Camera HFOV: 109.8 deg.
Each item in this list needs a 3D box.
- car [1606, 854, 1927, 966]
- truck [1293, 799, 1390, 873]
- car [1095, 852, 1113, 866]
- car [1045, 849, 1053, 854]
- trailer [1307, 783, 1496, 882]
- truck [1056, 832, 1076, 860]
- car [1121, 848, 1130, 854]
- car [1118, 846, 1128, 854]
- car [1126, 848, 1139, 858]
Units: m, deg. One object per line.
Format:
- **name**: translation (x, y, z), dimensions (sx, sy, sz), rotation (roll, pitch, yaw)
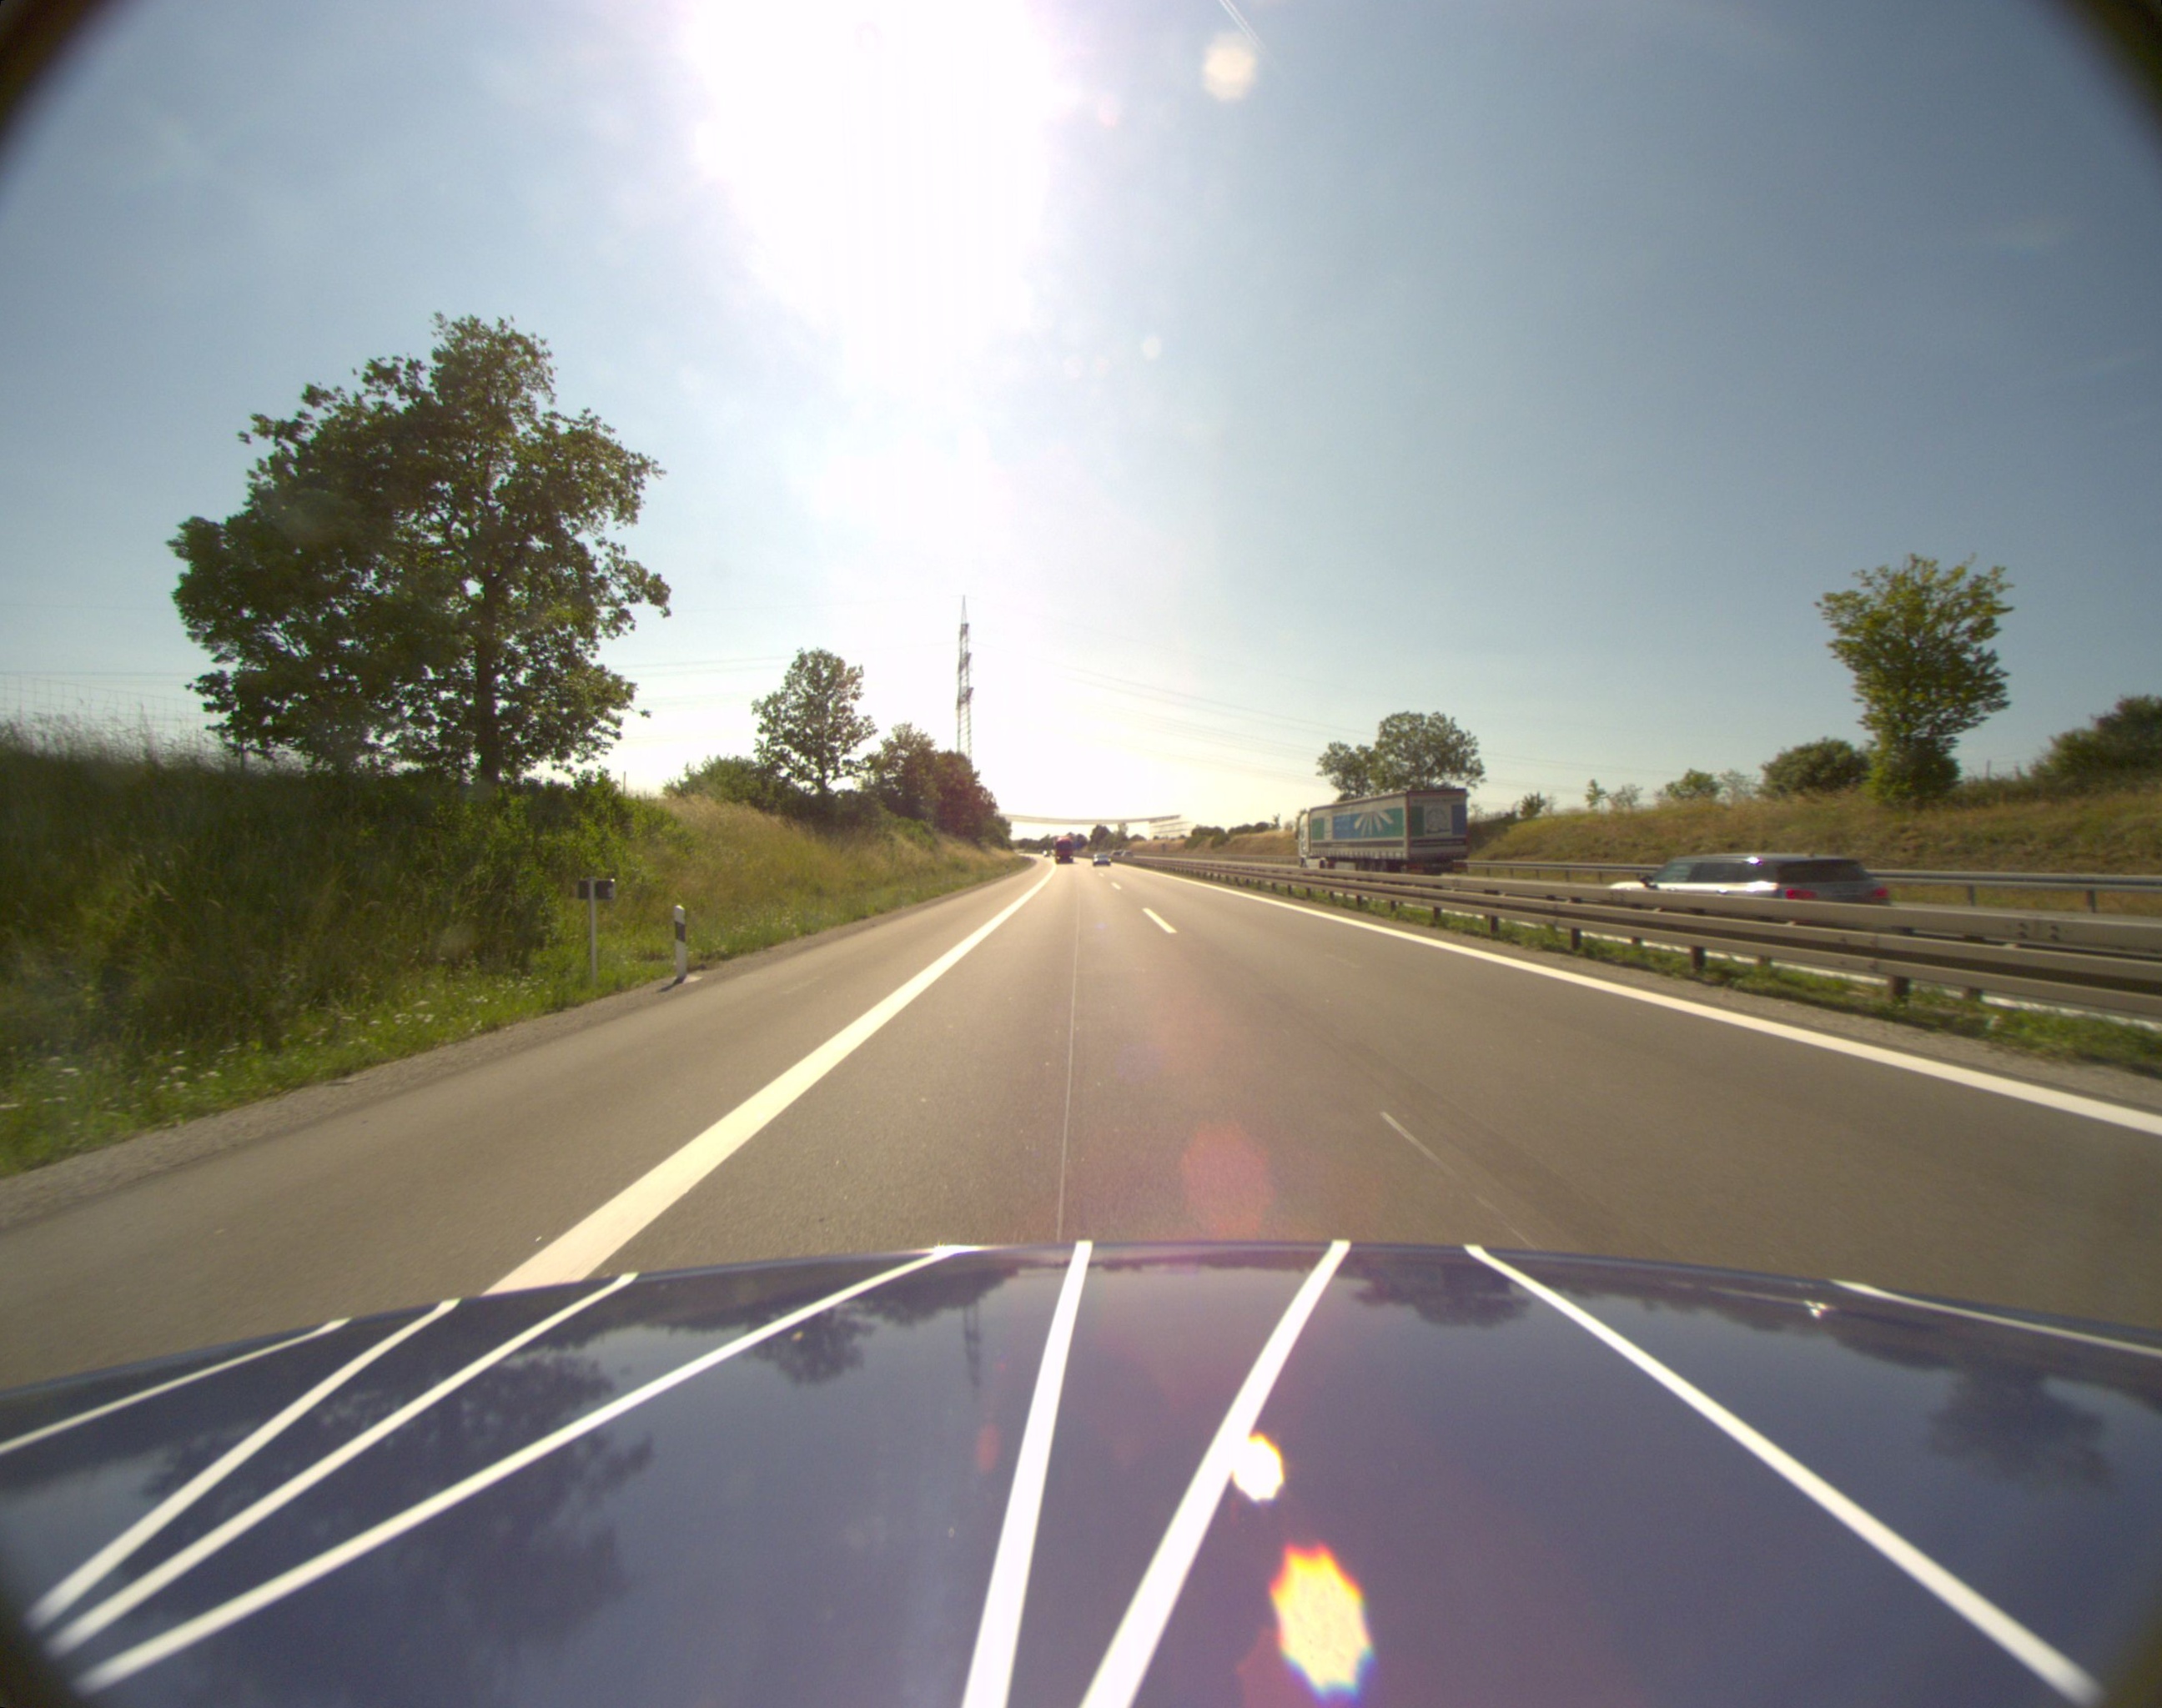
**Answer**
- **car**: translation (10.502, 0.747, 12.104), dimensions (1.589, 1.422, 3.926), rotation (-1, 1, 0)
- **truck**: translation (15.337, -1.026, 45.300), dimensions (3.623, 3.976, 6.123), rotation (-1, 1, 0)
- **car**: translation (2.506, 0.502, 83.292), dimensions (1.852, 1.424, 5.865), rotation (1, 1, 0)
- **car**: translation (-9.233, -0.702, 218.249), dimensions (1.910, 1.422, 4.553), rotation (-1, 1, 0)
- **trailer**: translation (15.330, -0.942, 38.396), dimensions (3.623, 3.975, 14.046), rotation (-1, 1, 0)
- **truck**: translation (-2.154, -1.223, 112.847), dimensions (2.570, 3.939, 8.642), rotation (-1, 1, 0)
- **car**: translation (9.998, -0.681, 172.165), dimensions (1.782, 1.391, 3.999), rotation (-1, 1, 0)
- **car**: translation (8.137, -0.841, 148.266), dimensions (1.729, 1.422, 4.221), rotation (-1, 1, 0)
- **car**: translation (8.790, -0.220, 129.772), dimensions (1.998, 1.655, 3.999), rotation (-1, 1, 0)
